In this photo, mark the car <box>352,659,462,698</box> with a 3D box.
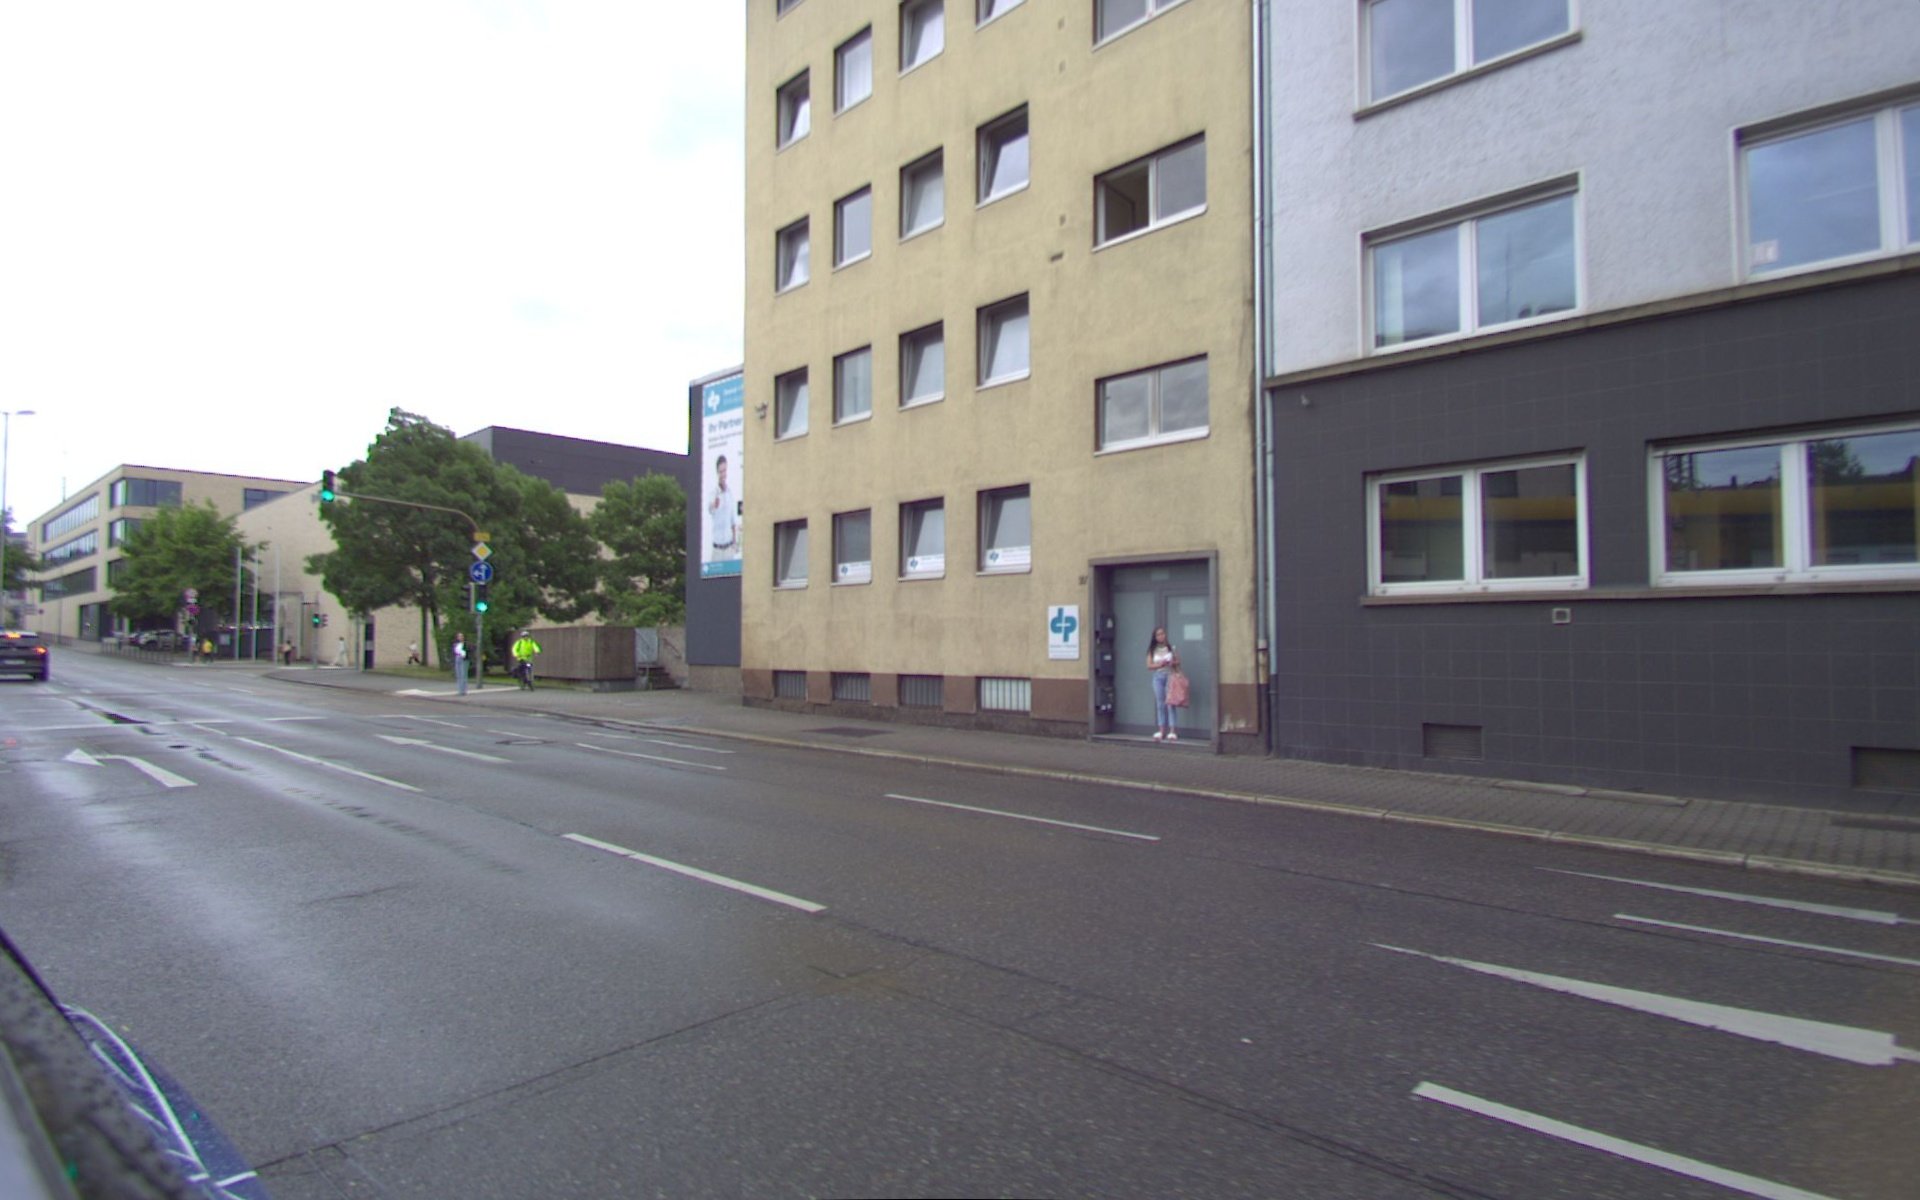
[{"bbox_3d":[-29.669,4.257,54.390,1.999,1.940,4.727,-2,-5,40],"label":"car"}]

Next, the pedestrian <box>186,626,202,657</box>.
[{"bbox_3d":[-44.187,2.377,58.354,0.692,1.784,0.587,-1,0,42],"label":"pedestrian"}]

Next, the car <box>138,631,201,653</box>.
[{"bbox_3d":[-65.757,3.488,84.201,3.939,1.597,2.002,-1,0,-43],"label":"car"}]

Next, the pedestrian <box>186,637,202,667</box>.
[{"bbox_3d":[-45.817,3.110,60.526,0.691,1.744,0.588,-1,0,39],"label":"pedestrian"}]

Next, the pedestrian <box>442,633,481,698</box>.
[{"bbox_3d":[-13.602,1.773,27.611,0.709,1.702,0.811,-1,0,-45],"label":"pedestrian"}]

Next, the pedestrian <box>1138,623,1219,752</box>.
[{"bbox_3d":[3.044,1.178,14.086,0.709,1.702,0.811,-1,0,-45],"label":"pedestrian"}]

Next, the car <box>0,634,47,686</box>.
[{"bbox_3d":[-31.410,1.938,33.273,4.296,1.606,1.787,-2,-2,44],"label":"car"}]

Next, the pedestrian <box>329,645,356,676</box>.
[{"bbox_3d":[-35.446,3.478,58.124,0.807,1.713,1.098,-1,0,41],"label":"pedestrian"}]

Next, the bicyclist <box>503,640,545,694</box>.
[{"bbox_3d":[-12.330,1.883,28.647,0.832,1.453,0.813,-1,0,-45],"label":"bicyclist"}]

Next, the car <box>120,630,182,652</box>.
[{"bbox_3d":[-68.203,3.435,85.363,3.939,1.597,2.002,-1,0,-43],"label":"car"}]

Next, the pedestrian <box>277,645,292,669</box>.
[{"bbox_3d":[-38.829,3.273,58.162,0.475,1.386,0.614,-1,0,44],"label":"pedestrian"}]

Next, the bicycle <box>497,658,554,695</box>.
[{"bbox_3d":[-12.302,2.147,28.625,0.875,0.914,1.868,-1,0,-44],"label":"bicycle"}]

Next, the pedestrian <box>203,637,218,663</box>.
[{"bbox_3d":[-44.431,2.969,59.984,0.692,1.528,0.587,-1,0,42],"label":"pedestrian"}]
